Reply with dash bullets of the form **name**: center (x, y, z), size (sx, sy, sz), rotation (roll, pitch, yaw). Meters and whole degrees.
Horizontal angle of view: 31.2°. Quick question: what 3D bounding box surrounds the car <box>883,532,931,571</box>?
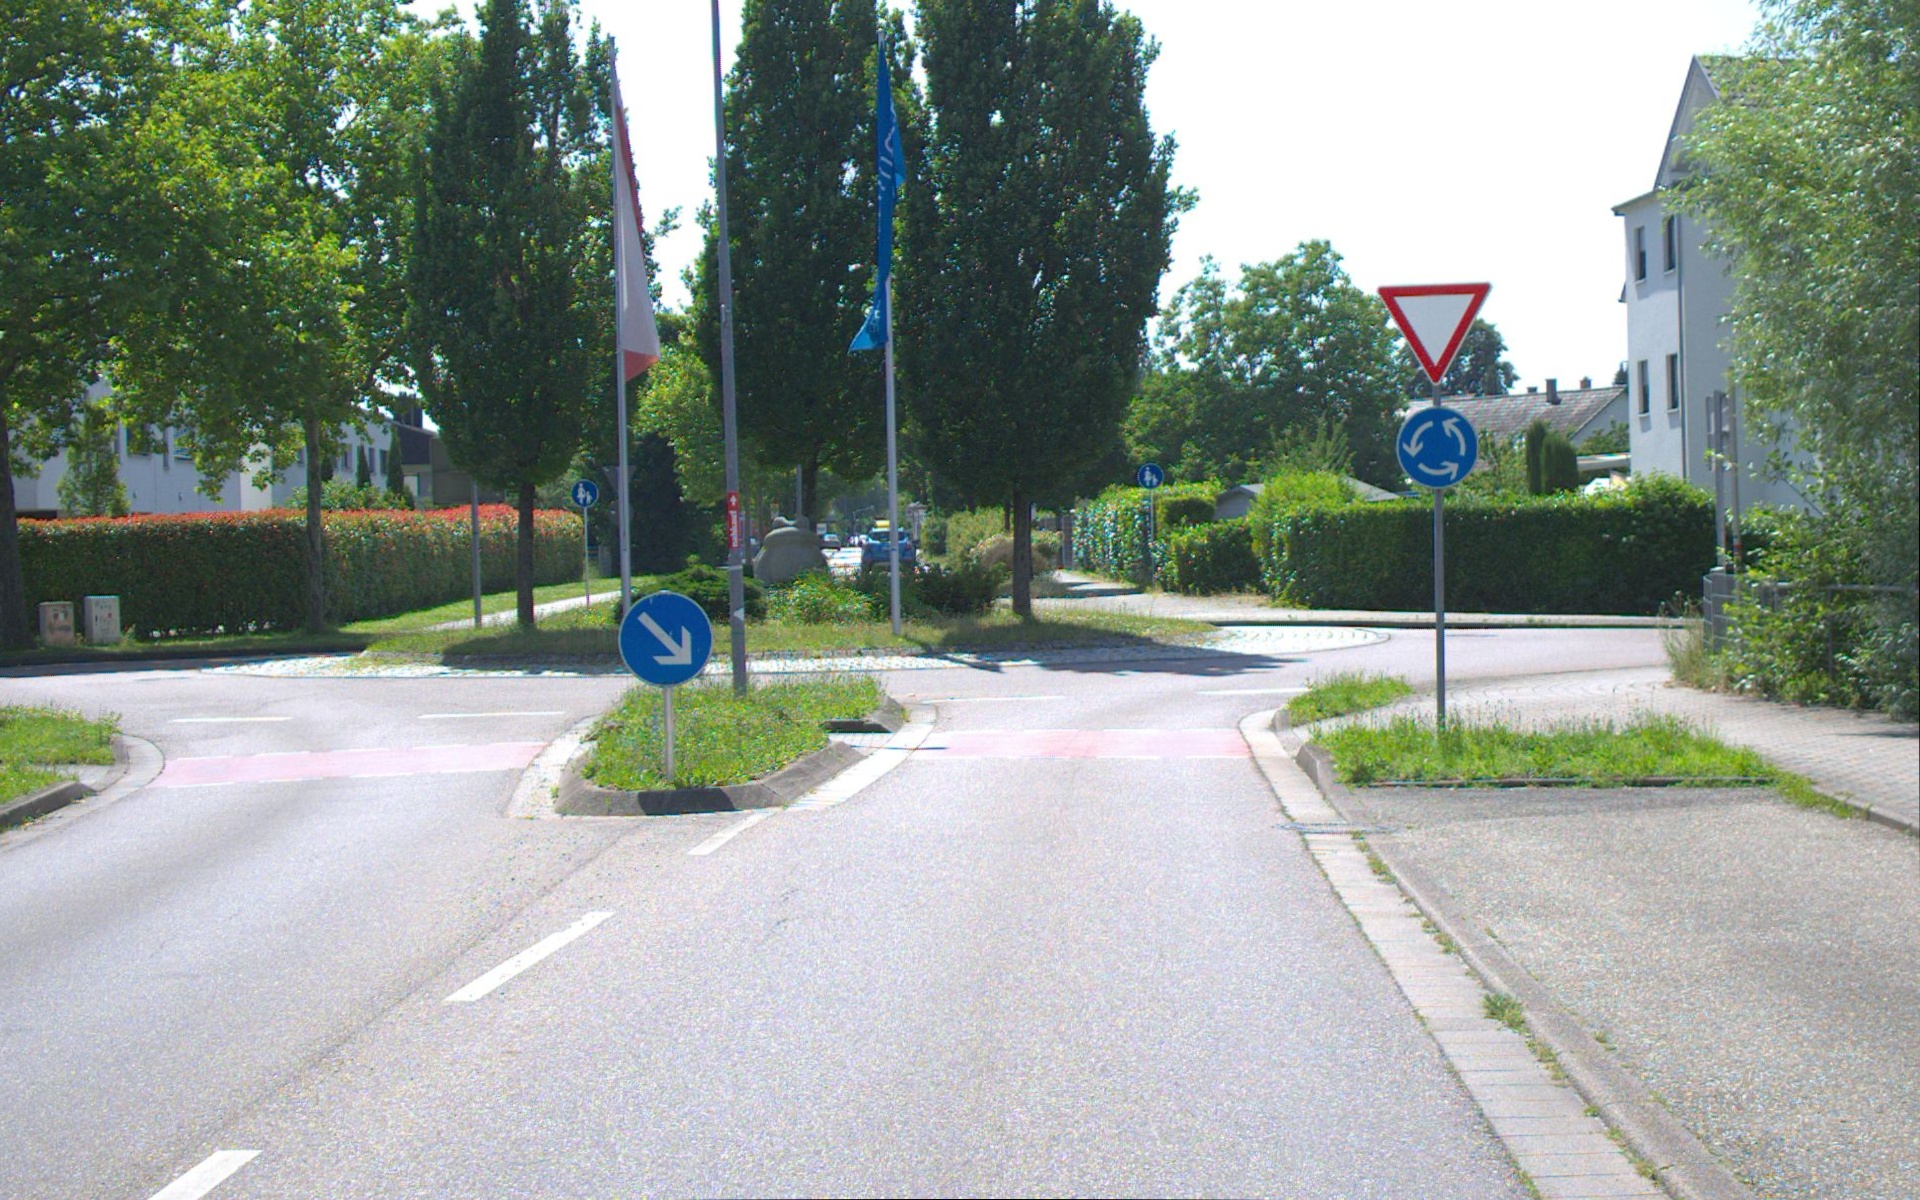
- **car**: center (-2.443, -2.237, 158.378), size (1.993, 1.764, 4.000), rotation (0, 1, 2)

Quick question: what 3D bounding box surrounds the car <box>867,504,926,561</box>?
- **car**: center (-2.136, -2.223, 114.157), size (1.923, 1.879, 4.000), rotation (0, 1, -1)
